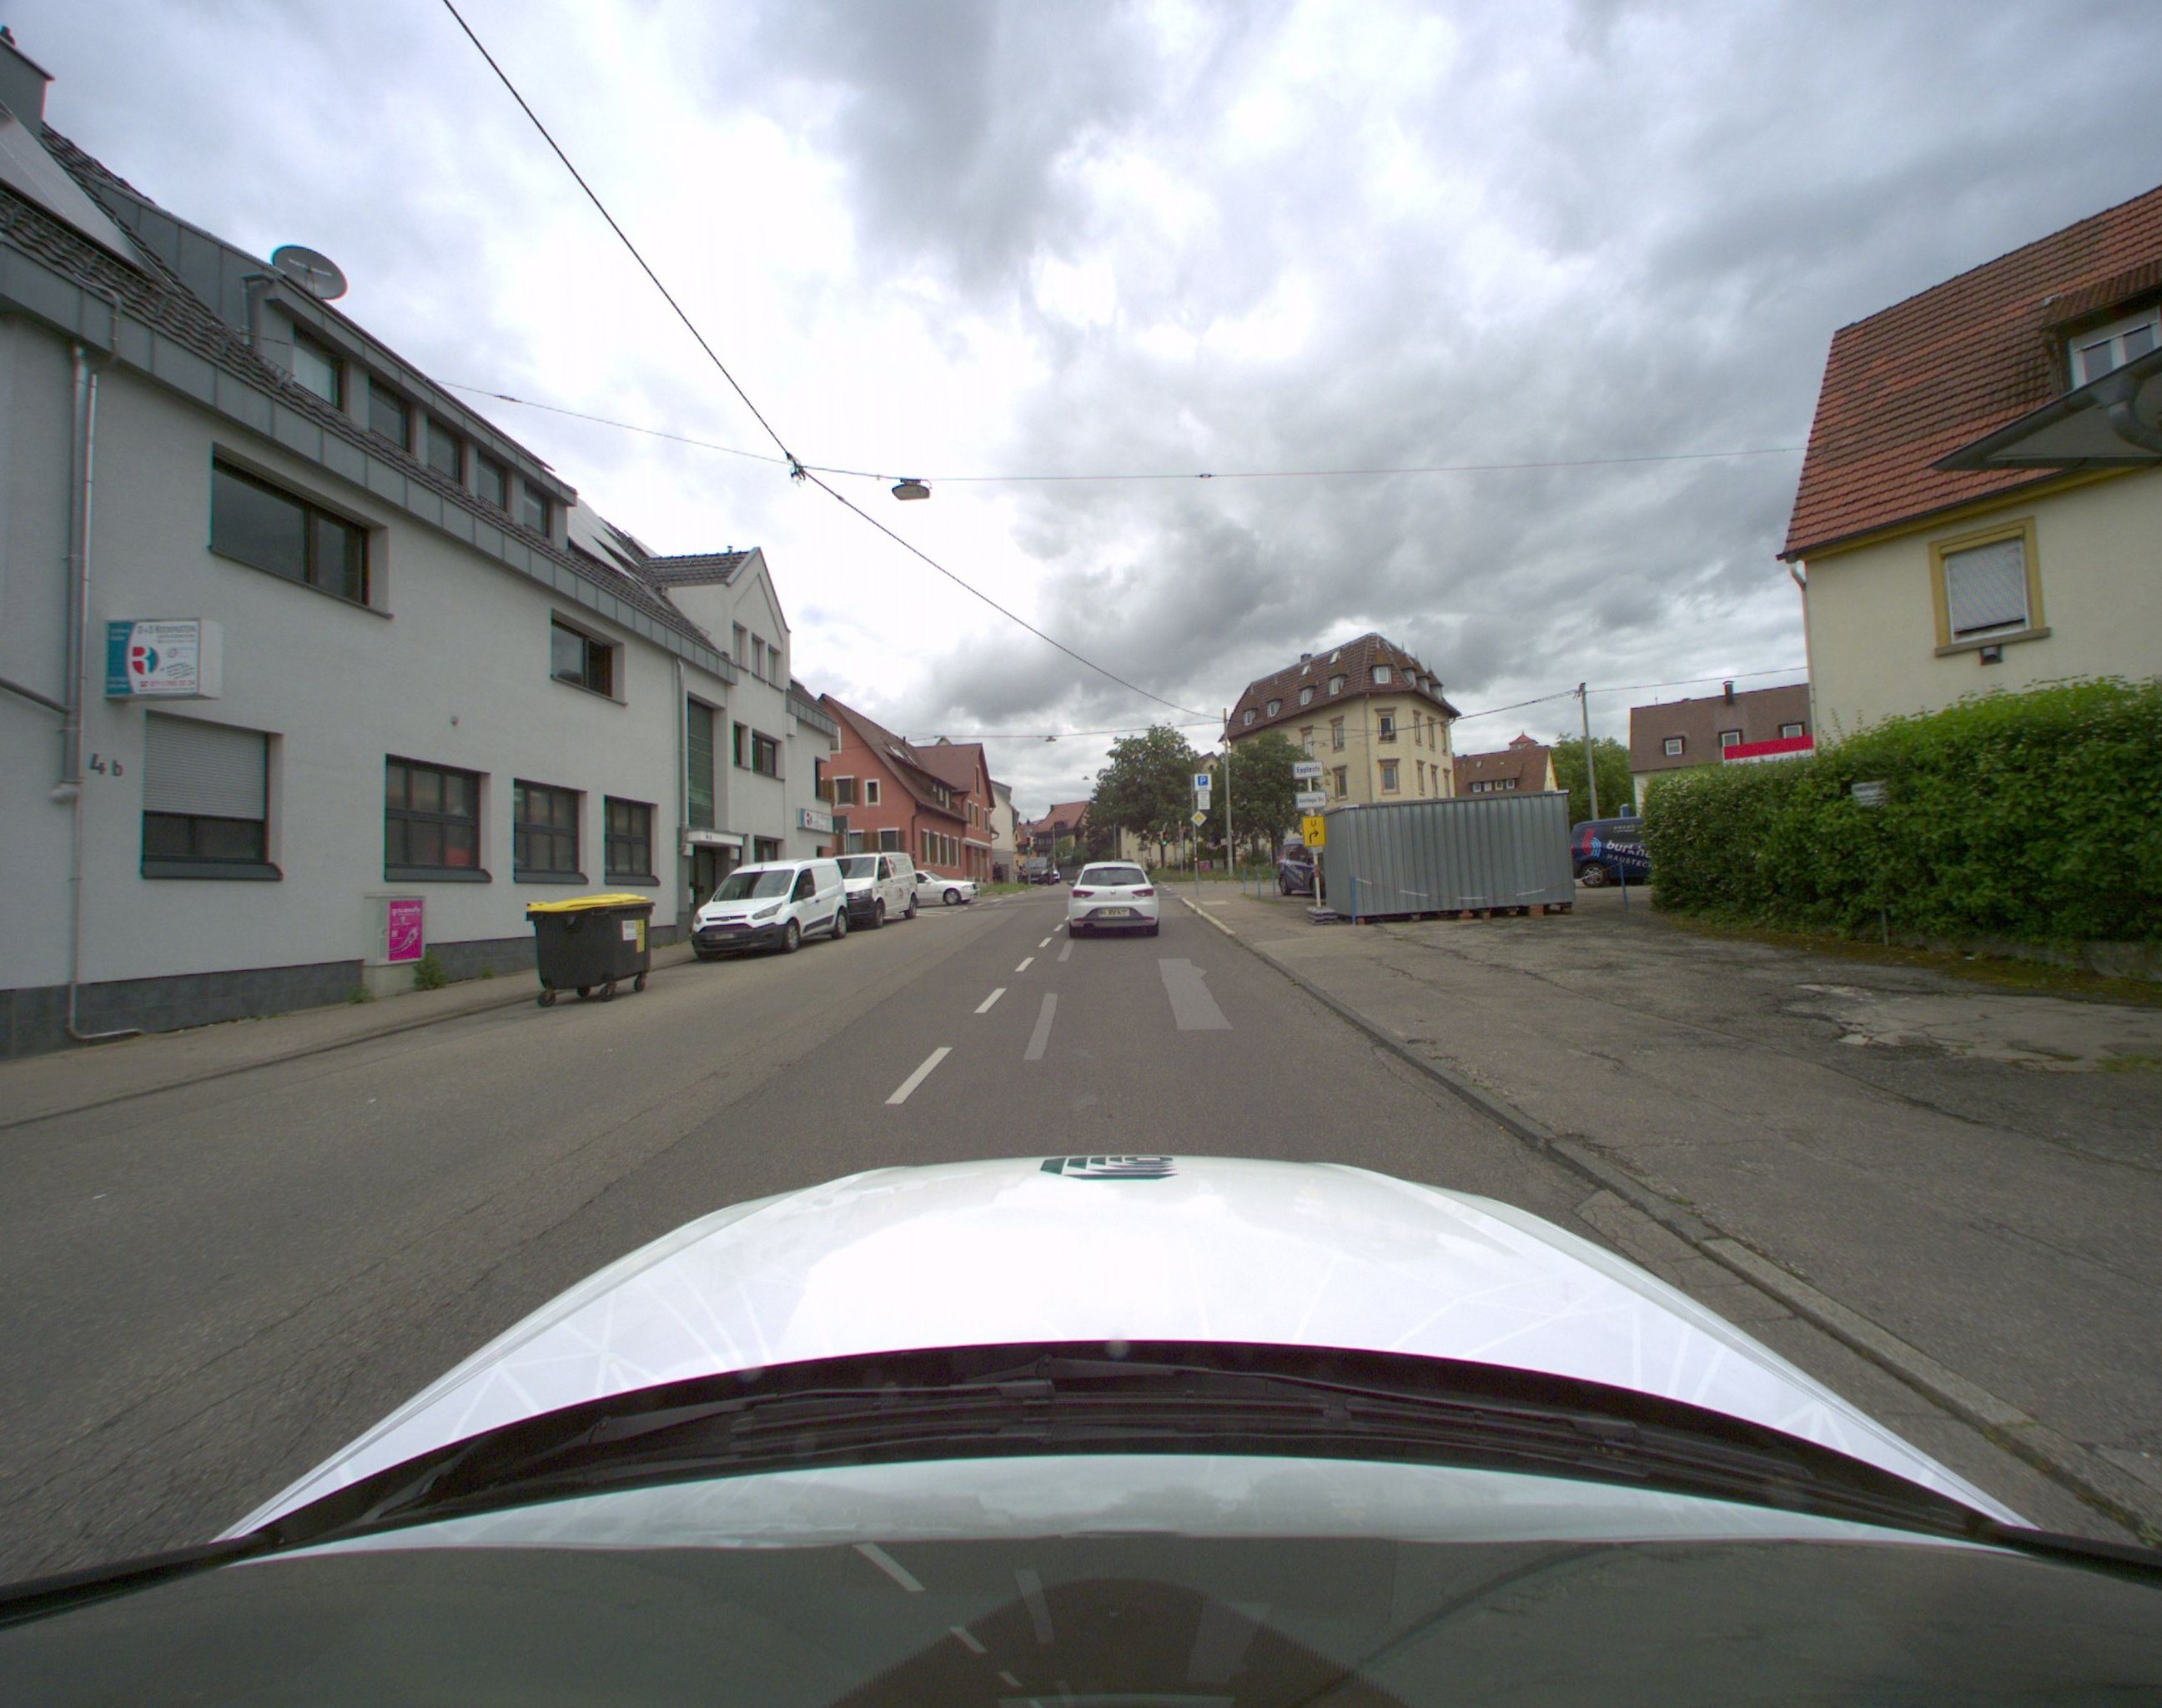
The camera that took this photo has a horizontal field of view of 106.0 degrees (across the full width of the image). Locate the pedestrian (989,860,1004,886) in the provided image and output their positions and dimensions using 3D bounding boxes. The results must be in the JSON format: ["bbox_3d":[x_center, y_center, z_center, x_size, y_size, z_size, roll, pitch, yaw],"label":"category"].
[{"bbox_3d":[-5.795,1.312,55.874,0.797,1.785,0.893,-2,-1,2],"label":"pedestrian"}]

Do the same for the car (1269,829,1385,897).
[{"bbox_3d":[7.275,0.276,24.606,1.743,1.739,4.565,-4,0,-4],"label":"car"}]

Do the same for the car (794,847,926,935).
[{"bbox_3d":[-5.787,0.904,22.037,1.804,2.005,4.769,-4,-1,5],"label":"car"}]

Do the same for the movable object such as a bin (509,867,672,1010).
[{"bbox_3d":[-6.282,1.028,10.560,1.138,1.633,1.561,-3,-1,-4],"label":"movable object such as a bin"}]

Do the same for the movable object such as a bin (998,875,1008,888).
[{"bbox_3d":[-6.233,2.168,64.973,0.663,1.018,0.795,-3,-1,-1],"label":"movable object such as a bin"}]

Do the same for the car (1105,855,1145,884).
[{"bbox_3d":[2.381,0.904,44.855,1.754,1.452,3.995,-2,-2,-3],"label":"car"}]

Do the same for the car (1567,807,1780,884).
[{"bbox_3d":[14.836,-0.160,20.597,1.876,1.728,3.958,1,-1,-33],"label":"car"}]

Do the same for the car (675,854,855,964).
[{"bbox_3d":[-6.210,0.991,16.622,1.727,1.832,4.300,-4,-1,2],"label":"car"}]

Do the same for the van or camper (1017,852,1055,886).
[{"bbox_3d":[-3.041,1.085,56.290,2.066,2.006,4.859,-4,-3,2],"label":"van or camper"}]

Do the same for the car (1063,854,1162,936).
[{"bbox_3d":[0.719,0.774,16.937,1.750,1.452,4.004,-2,-1,4],"label":"car"}]

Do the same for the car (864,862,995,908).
[{"bbox_3d":[-5.840,1.183,31.677,4.531,1.445,2.003,-4,-1,5],"label":"car"}]

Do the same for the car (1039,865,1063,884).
[{"bbox_3d":[-2.808,1.934,76.165,1.995,1.633,4.848,-1,-2,-5],"label":"car"}]

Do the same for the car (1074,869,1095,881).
[{"bbox_3d":[0.438,2.646,101.921,1.760,1.452,3.982,1,-3,-12],"label":"car"}]

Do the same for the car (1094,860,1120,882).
[{"bbox_3d":[1.881,1.262,59.696,1.753,1.452,3.998,-2,-2,0],"label":"car"}]
